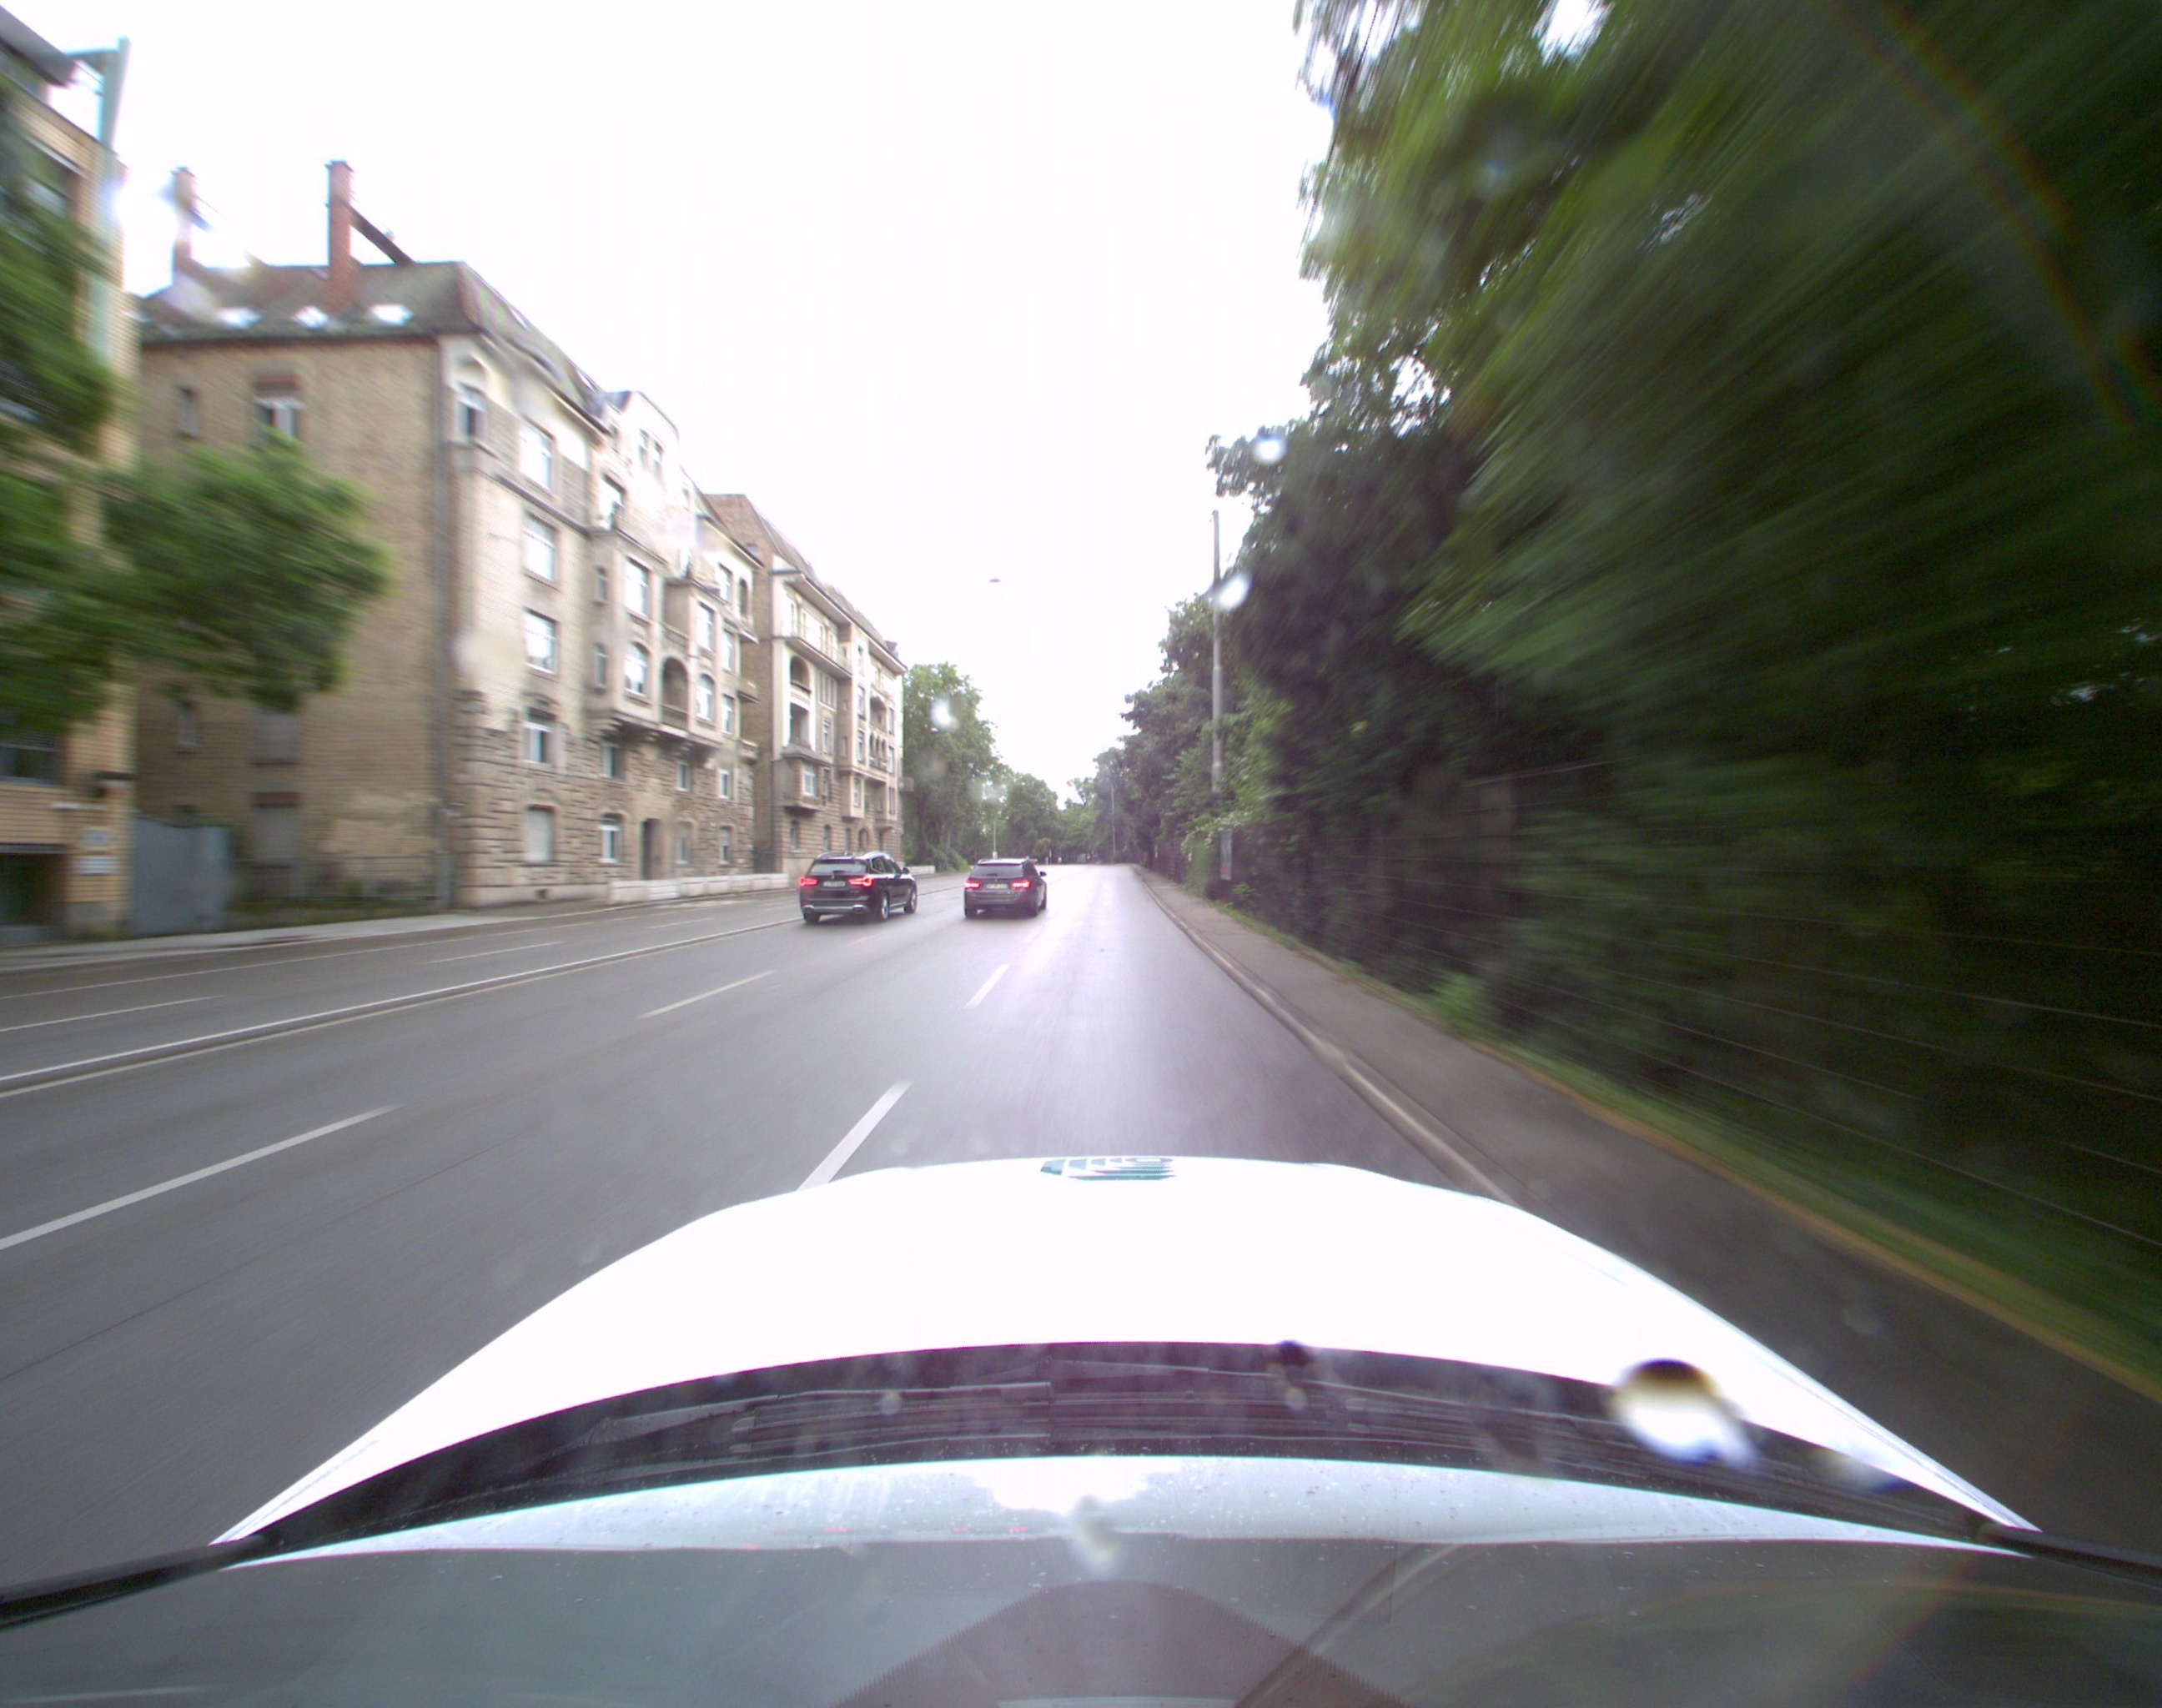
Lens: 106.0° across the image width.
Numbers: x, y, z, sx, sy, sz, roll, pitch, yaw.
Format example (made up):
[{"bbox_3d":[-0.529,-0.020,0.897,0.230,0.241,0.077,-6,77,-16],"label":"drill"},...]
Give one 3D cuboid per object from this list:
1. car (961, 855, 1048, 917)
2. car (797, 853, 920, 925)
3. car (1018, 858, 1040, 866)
[{"bbox_3d":[-1.898,0.762,21.492,1.751,1.432,4.414,1,0,1],"label":"car"},{"bbox_3d":[-5.359,0.772,20.218,1.751,1.586,4.414,0,0,1],"label":"car"},{"bbox_3d":[-9.983,1.546,155.284,1.702,1.427,4.317,4,-4,-45],"label":"car"}]
